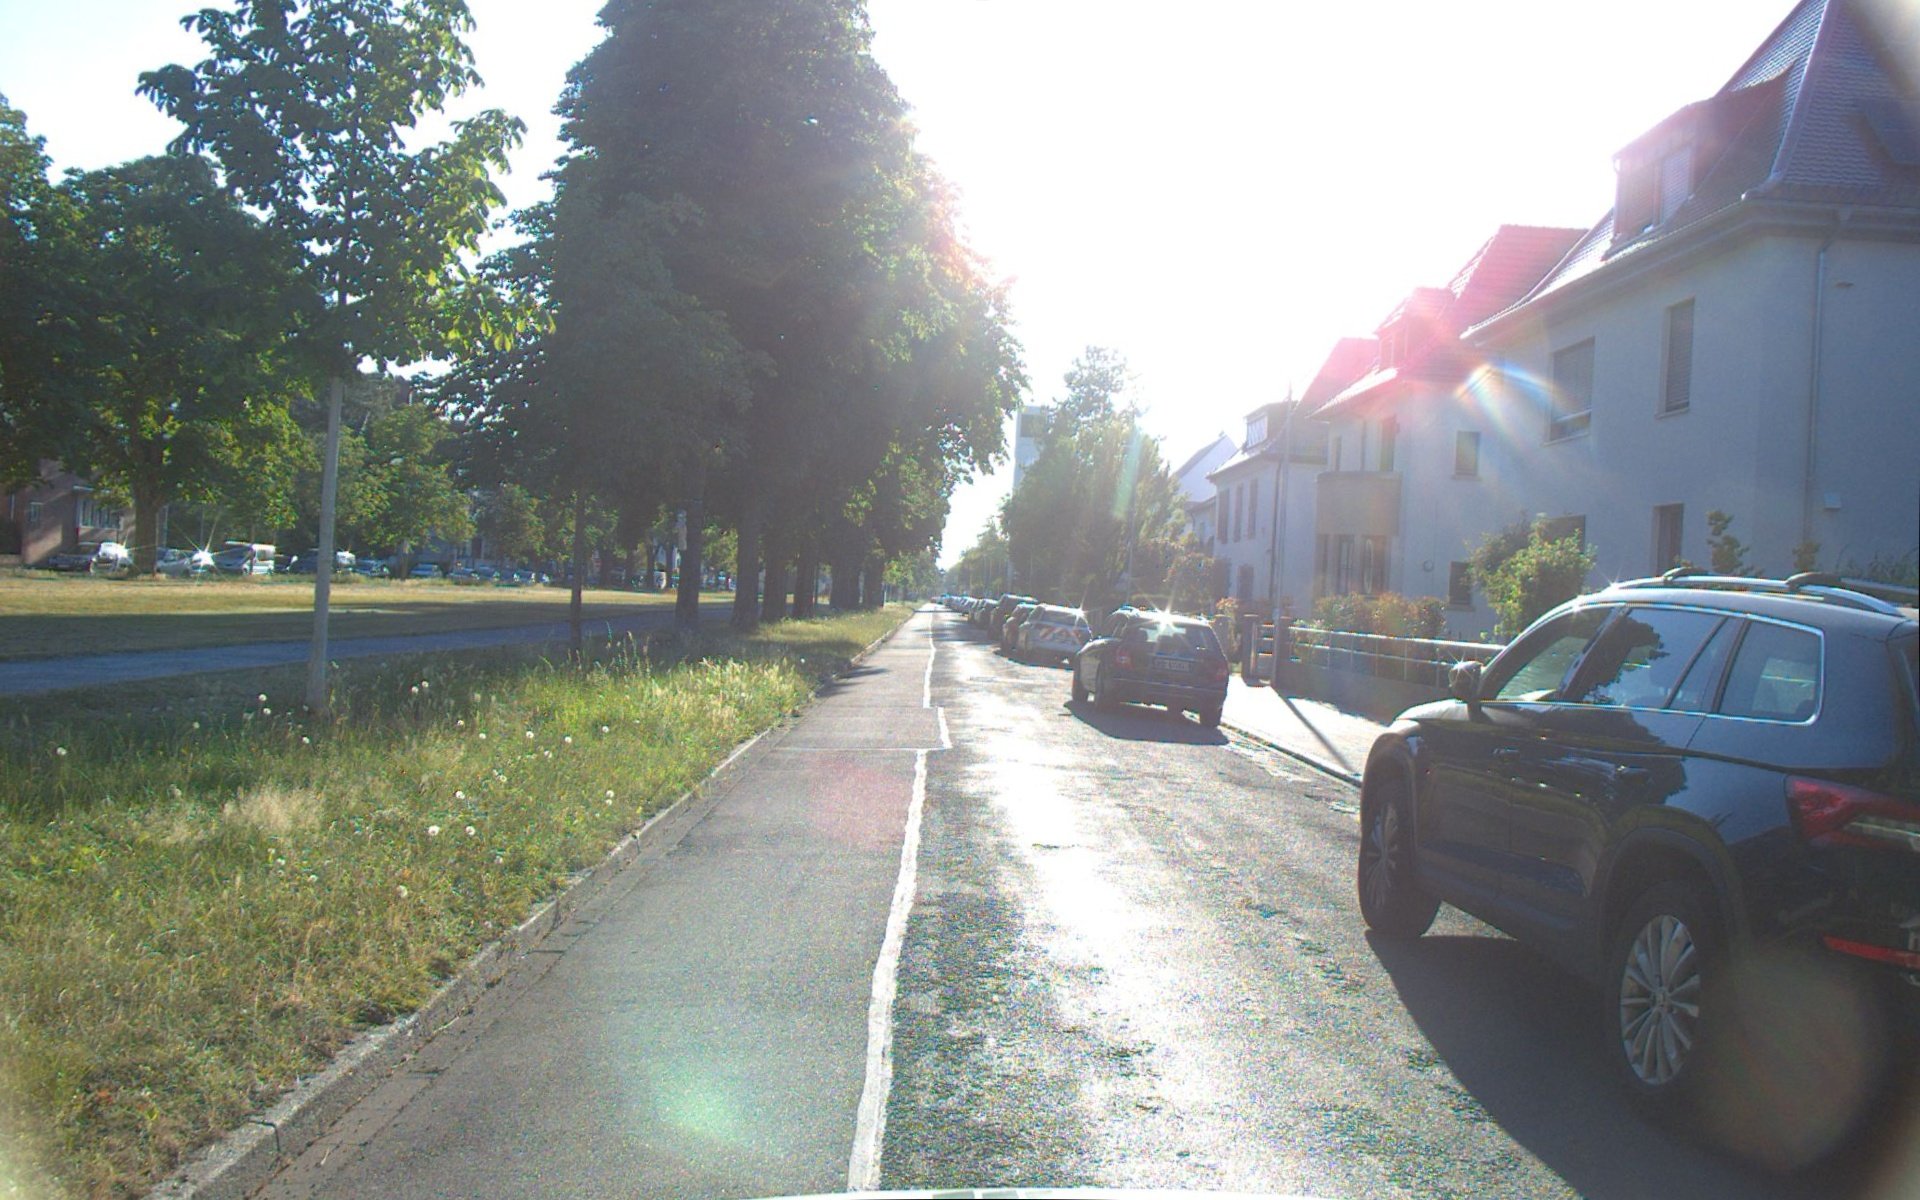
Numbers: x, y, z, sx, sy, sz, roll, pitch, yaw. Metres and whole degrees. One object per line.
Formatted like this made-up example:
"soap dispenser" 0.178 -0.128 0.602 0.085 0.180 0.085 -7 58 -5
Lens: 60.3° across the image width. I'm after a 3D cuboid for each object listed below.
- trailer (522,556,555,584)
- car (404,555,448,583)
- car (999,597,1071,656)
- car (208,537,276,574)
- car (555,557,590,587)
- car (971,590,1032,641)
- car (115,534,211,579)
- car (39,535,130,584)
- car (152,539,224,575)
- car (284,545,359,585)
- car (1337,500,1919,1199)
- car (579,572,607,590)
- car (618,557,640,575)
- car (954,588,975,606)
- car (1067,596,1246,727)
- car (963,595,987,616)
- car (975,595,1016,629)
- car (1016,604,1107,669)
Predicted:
"trailer" -41.299 -2.918 162.109 1.953 2.470 4.723 3 0 0
"car" -40.581 -2.343 125.850 1.990 2.049 4.000 1 -1 0
"car" 2.210 0.765 49.954 1.745 1.488 4.592 6 0 -1
"car" -40.017 -2.464 92.296 1.780 1.869 4.408 4 0 0
"car" -41.752 -2.978 178.295 2.388 2.973 5.816 1 -1 -1
"car" 1.544 0.557 63.946 1.954 1.767 4.862 4 0 -2
"car" -33.776 -1.816 70.230 1.782 1.668 4.649 4 0 -1
"car" -39.524 -1.822 74.776 1.721 2.048 4.368 3 1 0
"car" -40.388 -2.214 86.629 1.721 1.651 4.305 4 0 0
"car" -34.512 -1.856 89.563 1.953 1.974 5.246 3 1 0
"car" 3.009 0.752 6.132 1.822 1.748 4.465 9 0 -3
"car" -36.024 -1.831 162.492 1.650 1.587 4.314 3 0 0
"car" -43.222 -4.428 215.926 1.953 2.049 4.483 1 -1 -1
"car" 0.435 -0.312 159.440 1.723 1.633 4.357 3 0 -2
"car" 2.723 0.801 23.913 1.745 1.525 4.395 6 0 -3
"car" 1.202 0.445 136.571 1.723 1.443 4.071 10 0 0
"car" 1.770 0.601 83.554 1.757 1.518 4.673 4 0 -1
"car" 2.641 0.928 44.045 1.954 1.489 4.548 3 0 -2
